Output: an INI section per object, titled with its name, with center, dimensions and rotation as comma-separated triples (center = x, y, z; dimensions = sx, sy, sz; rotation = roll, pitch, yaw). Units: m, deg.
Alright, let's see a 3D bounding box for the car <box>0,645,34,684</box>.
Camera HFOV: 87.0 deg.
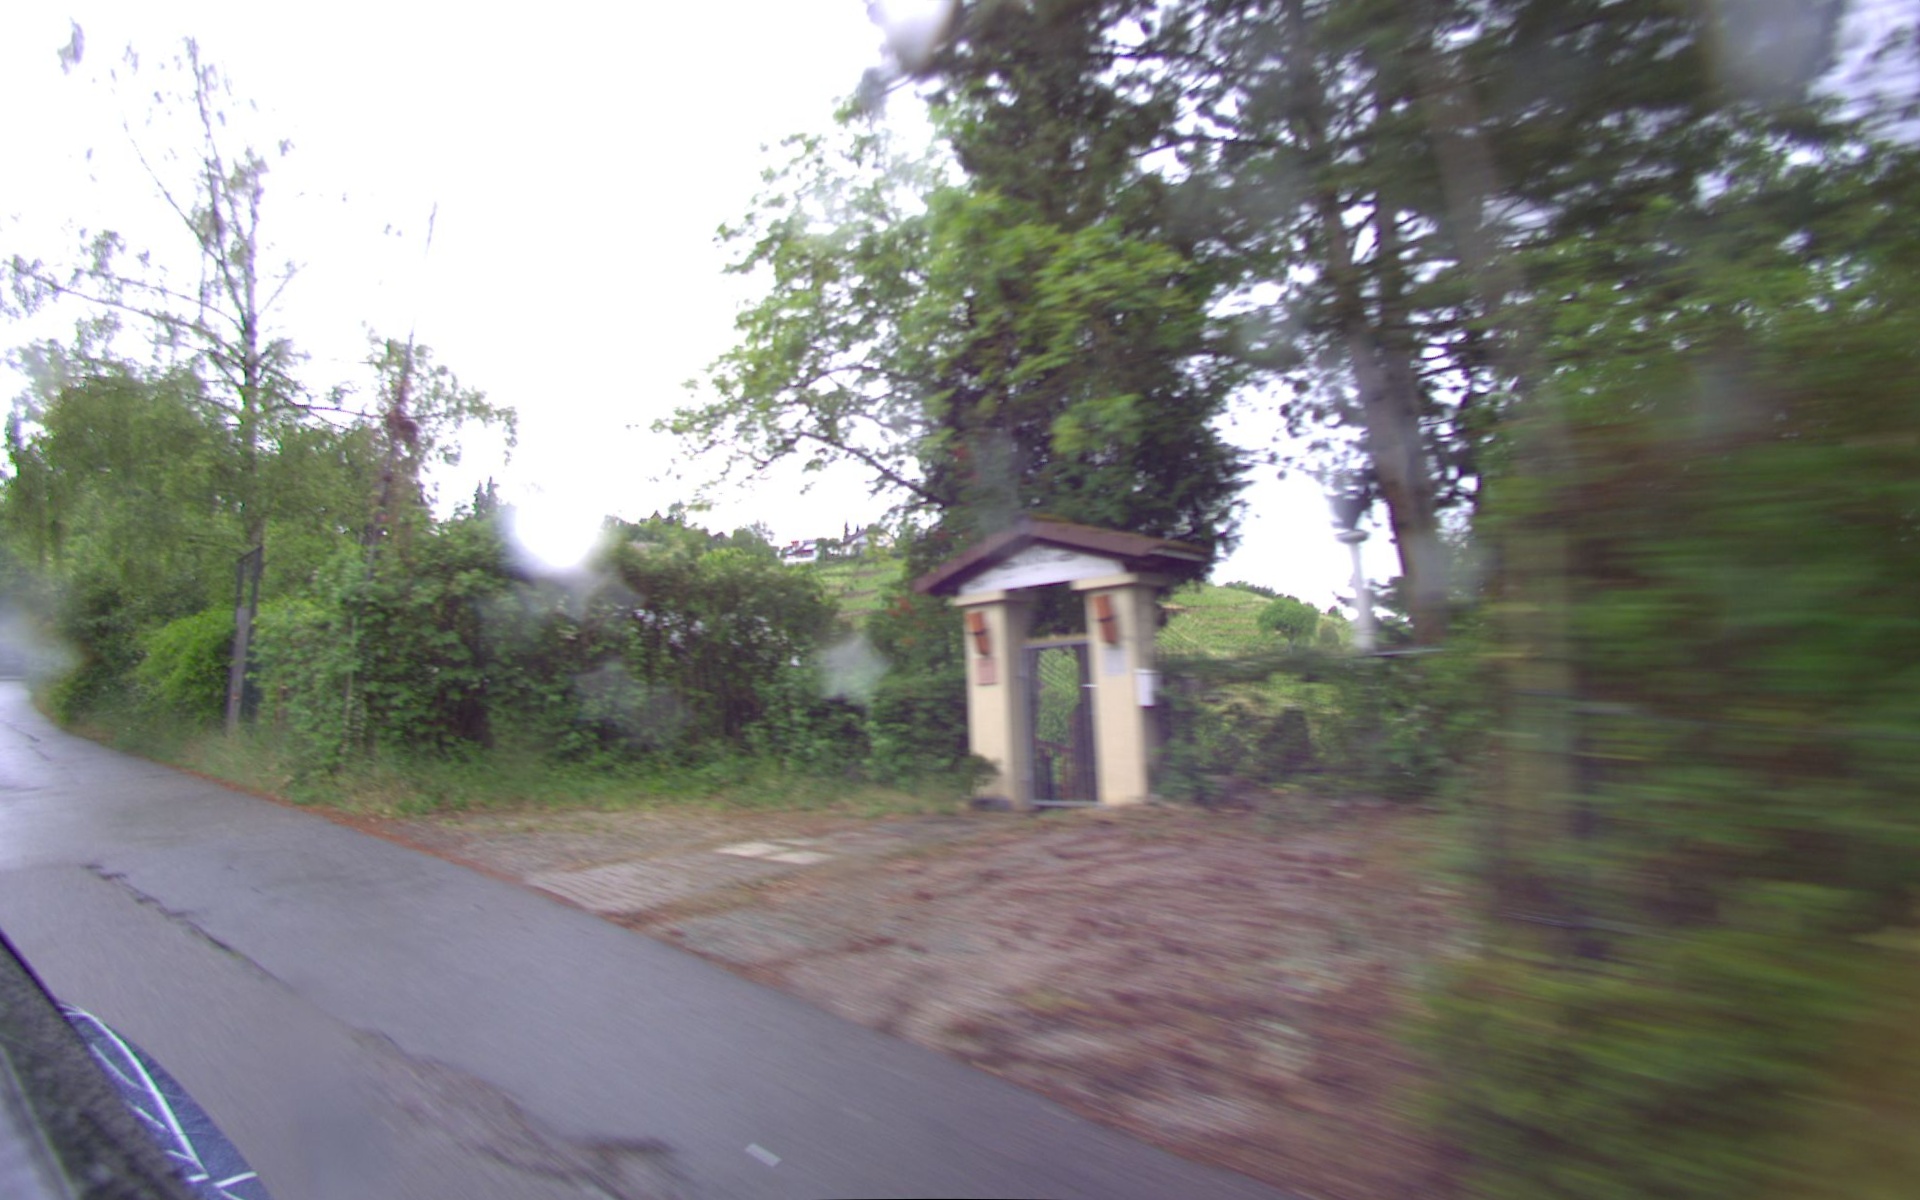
[car]
center = -44.083, 2.974, 46.726
dimensions = 4.069, 1.740, 1.666
rotation = -3, -6, 44
